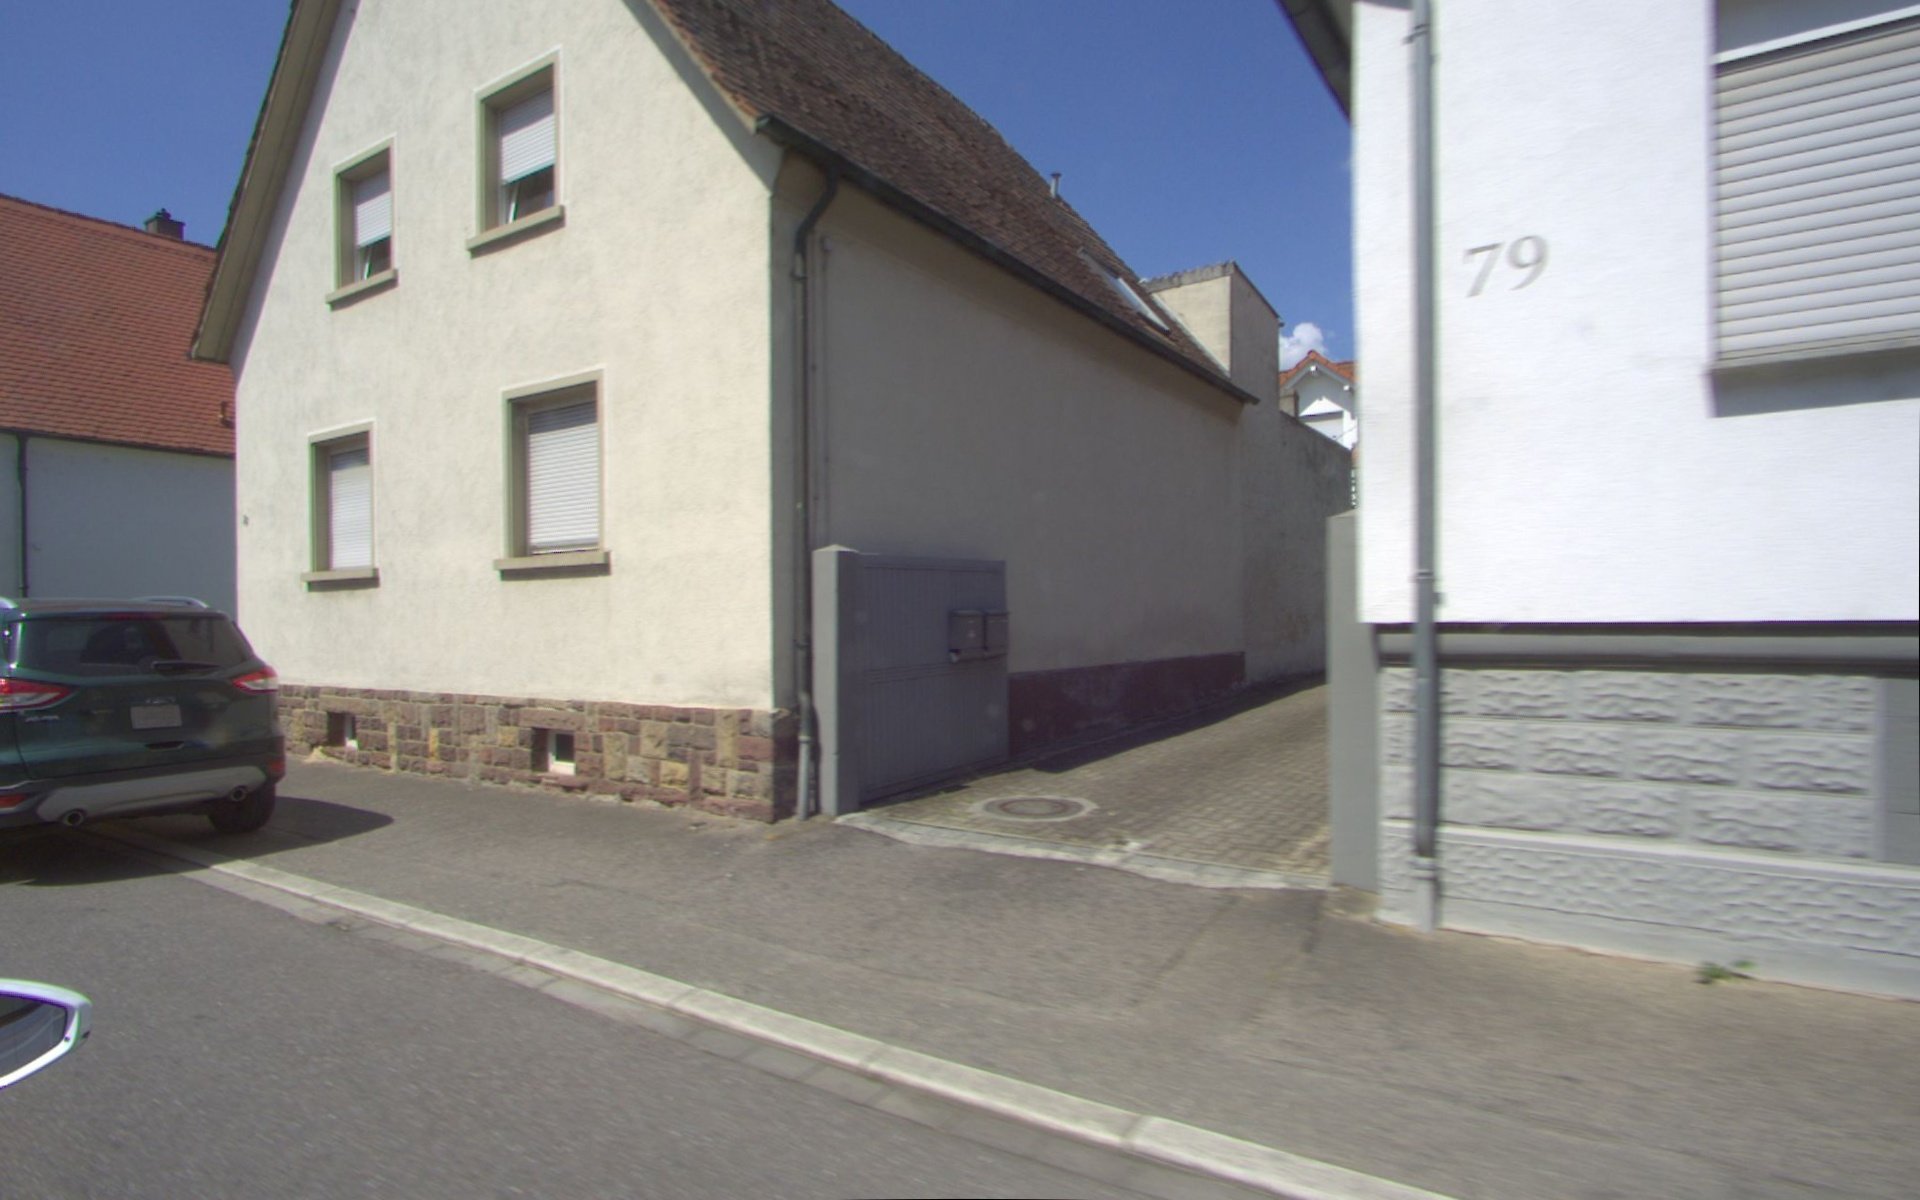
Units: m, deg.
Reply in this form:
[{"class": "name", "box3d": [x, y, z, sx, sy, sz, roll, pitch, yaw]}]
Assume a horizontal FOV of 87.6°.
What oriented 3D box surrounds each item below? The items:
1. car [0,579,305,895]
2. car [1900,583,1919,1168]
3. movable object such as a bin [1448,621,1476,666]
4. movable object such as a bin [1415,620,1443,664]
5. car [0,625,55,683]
[{"class": "car", "box3d": [-6.734, 0.796, 7.213, 4.213, 1.739, 1.726, -1, -1, 31]}, {"class": "car", "box3d": [3.795, 0.709, 0.993, 3.915, 1.516, 1.613, -1, 2, 33]}, {"class": "movable object such as a bin", "box3d": [11.536, 0.982, 23.013, 0.470, 1.015, 0.657, -1, -1, 38]}, {"class": "movable object such as a bin", "box3d": [11.014, 0.978, 23.515, 0.470, 1.015, 0.555, -1, -1, 38]}, {"class": "car", "box3d": [-25.263, 1.358, 24.819, 1.716, 1.433, 3.913, -1, -1, 33]}]
